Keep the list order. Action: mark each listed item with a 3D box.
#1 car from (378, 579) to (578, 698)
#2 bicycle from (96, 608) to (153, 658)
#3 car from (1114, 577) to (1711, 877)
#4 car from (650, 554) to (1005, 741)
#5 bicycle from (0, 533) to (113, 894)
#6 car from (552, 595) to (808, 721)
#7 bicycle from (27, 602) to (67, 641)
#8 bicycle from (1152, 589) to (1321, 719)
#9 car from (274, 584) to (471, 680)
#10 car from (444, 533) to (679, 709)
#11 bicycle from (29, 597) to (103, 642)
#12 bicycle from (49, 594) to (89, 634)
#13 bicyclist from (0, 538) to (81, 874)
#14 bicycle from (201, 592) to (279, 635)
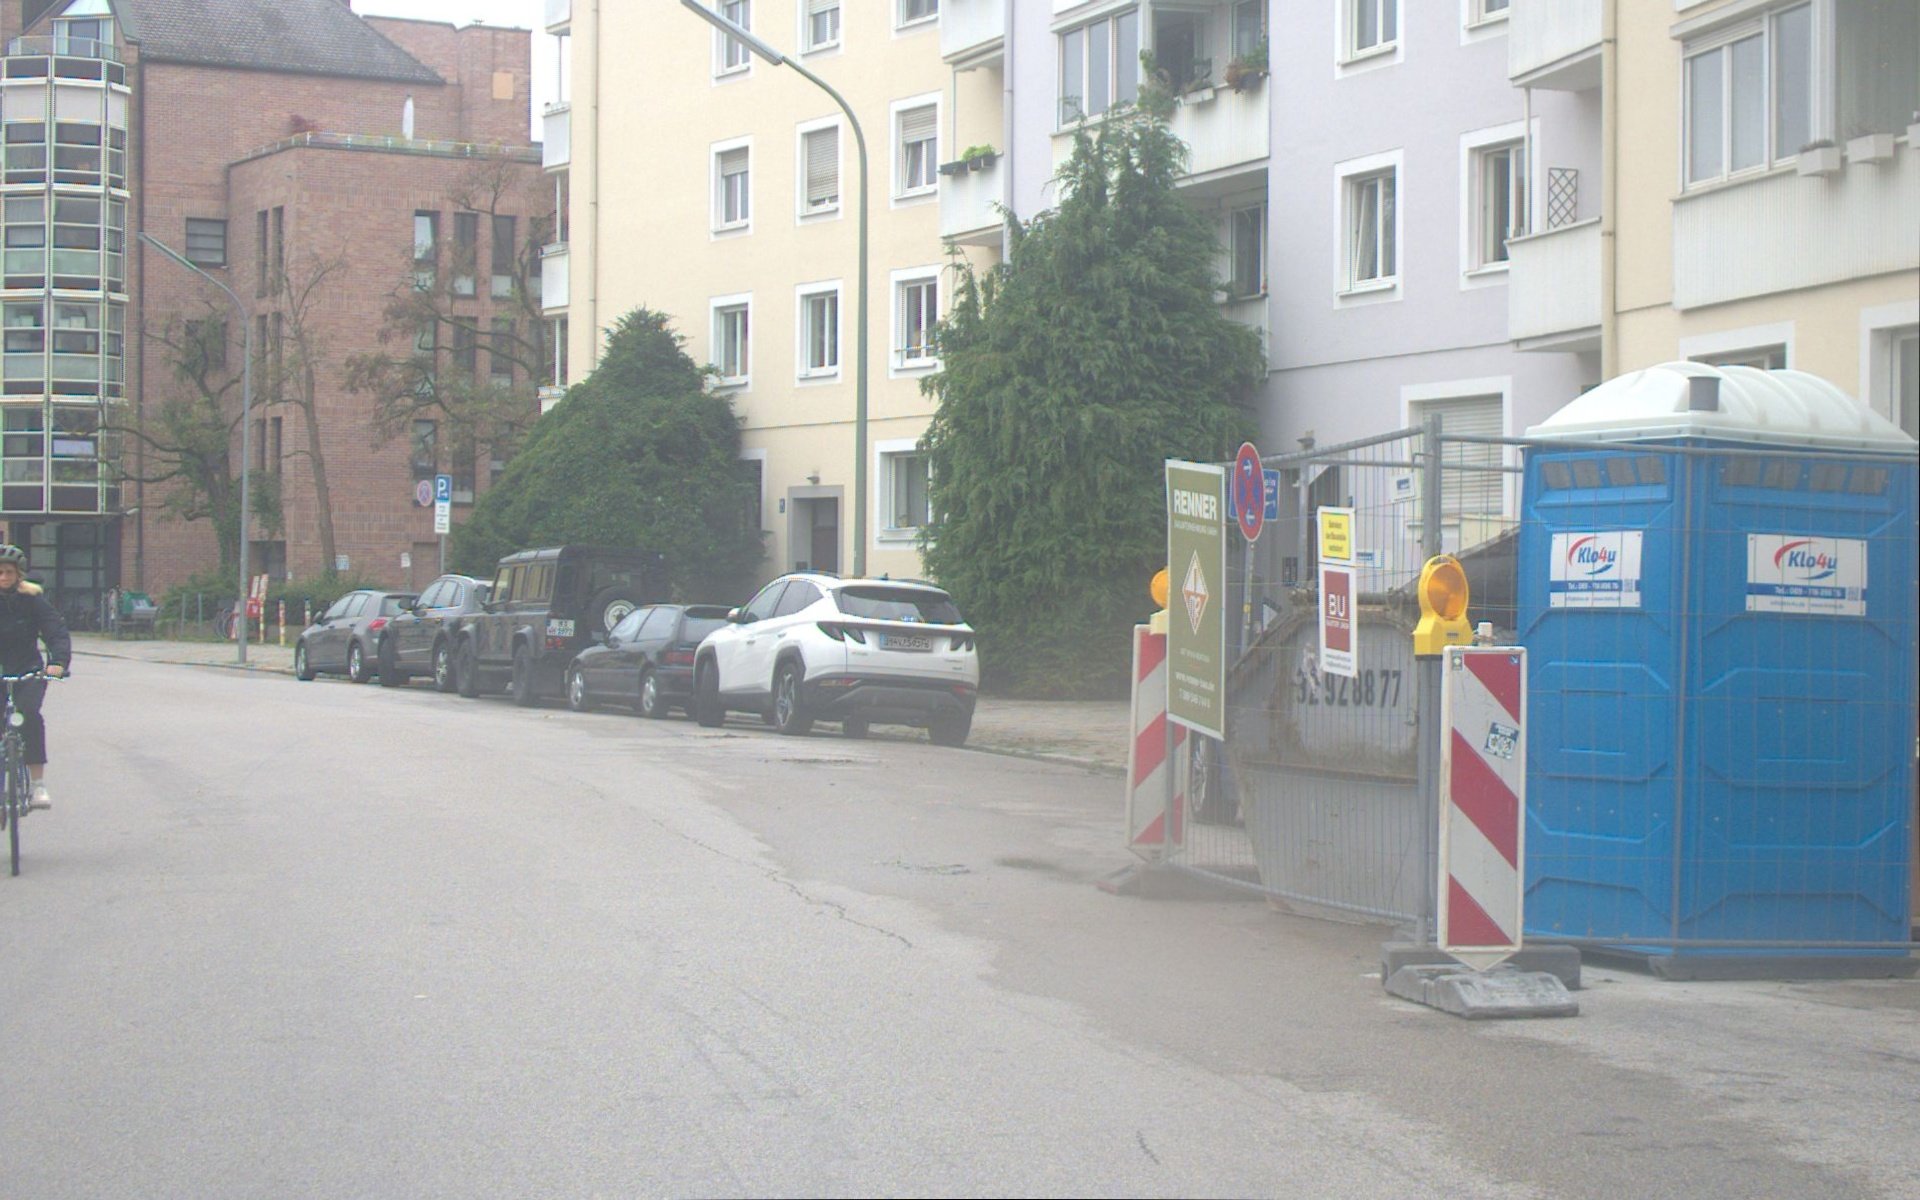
[{"bbox_3d":[-6.837,0.519,48.443,1.658,1.560,4.515,2,-1,-22],"label":"car"},{"bbox_3d":[-21.329,0.846,87.741,0.534,1.244,2.413,2,-2,-35],"label":"bicycle"},{"bbox_3d":[2.433,0.645,19.853,1.830,1.437,4.630,2,0,-13],"label":"car"},{"bbox_3d":[-1.429,0.430,34.755,2.025,1.672,4.614,2,0,-23],"label":"car"},{"bbox_3d":[-5.014,0.526,18.160,0.795,1.716,3.116,-2,2,-10],"label":"bicycle"},{"bbox_3d":[-3.284,0.657,39.700,1.658,1.344,3.805,2,-1,-26],"label":"car"},{"bbox_3d":[-25.194,0.595,94.871,0.486,1.056,1.996,2,-1,-31],"label":"bicycle"},{"bbox_3d":[3.075,0.580,38.552,0.742,1.363,2.472,-3,2,-24],"label":"bicycle"},{"bbox_3d":[-9.165,0.493,53.416,1.754,1.392,4.045,2,-1,-29],"label":"car"},{"bbox_3d":[-5.156,0.227,43.987,1.747,2.074,4.517,2,0,-22],"label":"car"},{"bbox_3d":[-24.300,0.533,93.468,1.848,1.143,0.488,2,0,-23],"label":"bicycle"},{"bbox_3d":[-24.673,0.387,95.188,0.486,1.056,1.996,2,0,-31],"label":"bicycle"},{"bbox_3d":[-5.050,0.536,18.076,0.747,1.711,1.032,0,1,-10],"label":"bicyclist"},{"bbox_3d":[-17.059,0.322,81.459,1.700,0.962,0.546,2,0,-28],"label":"bicycle"}]
